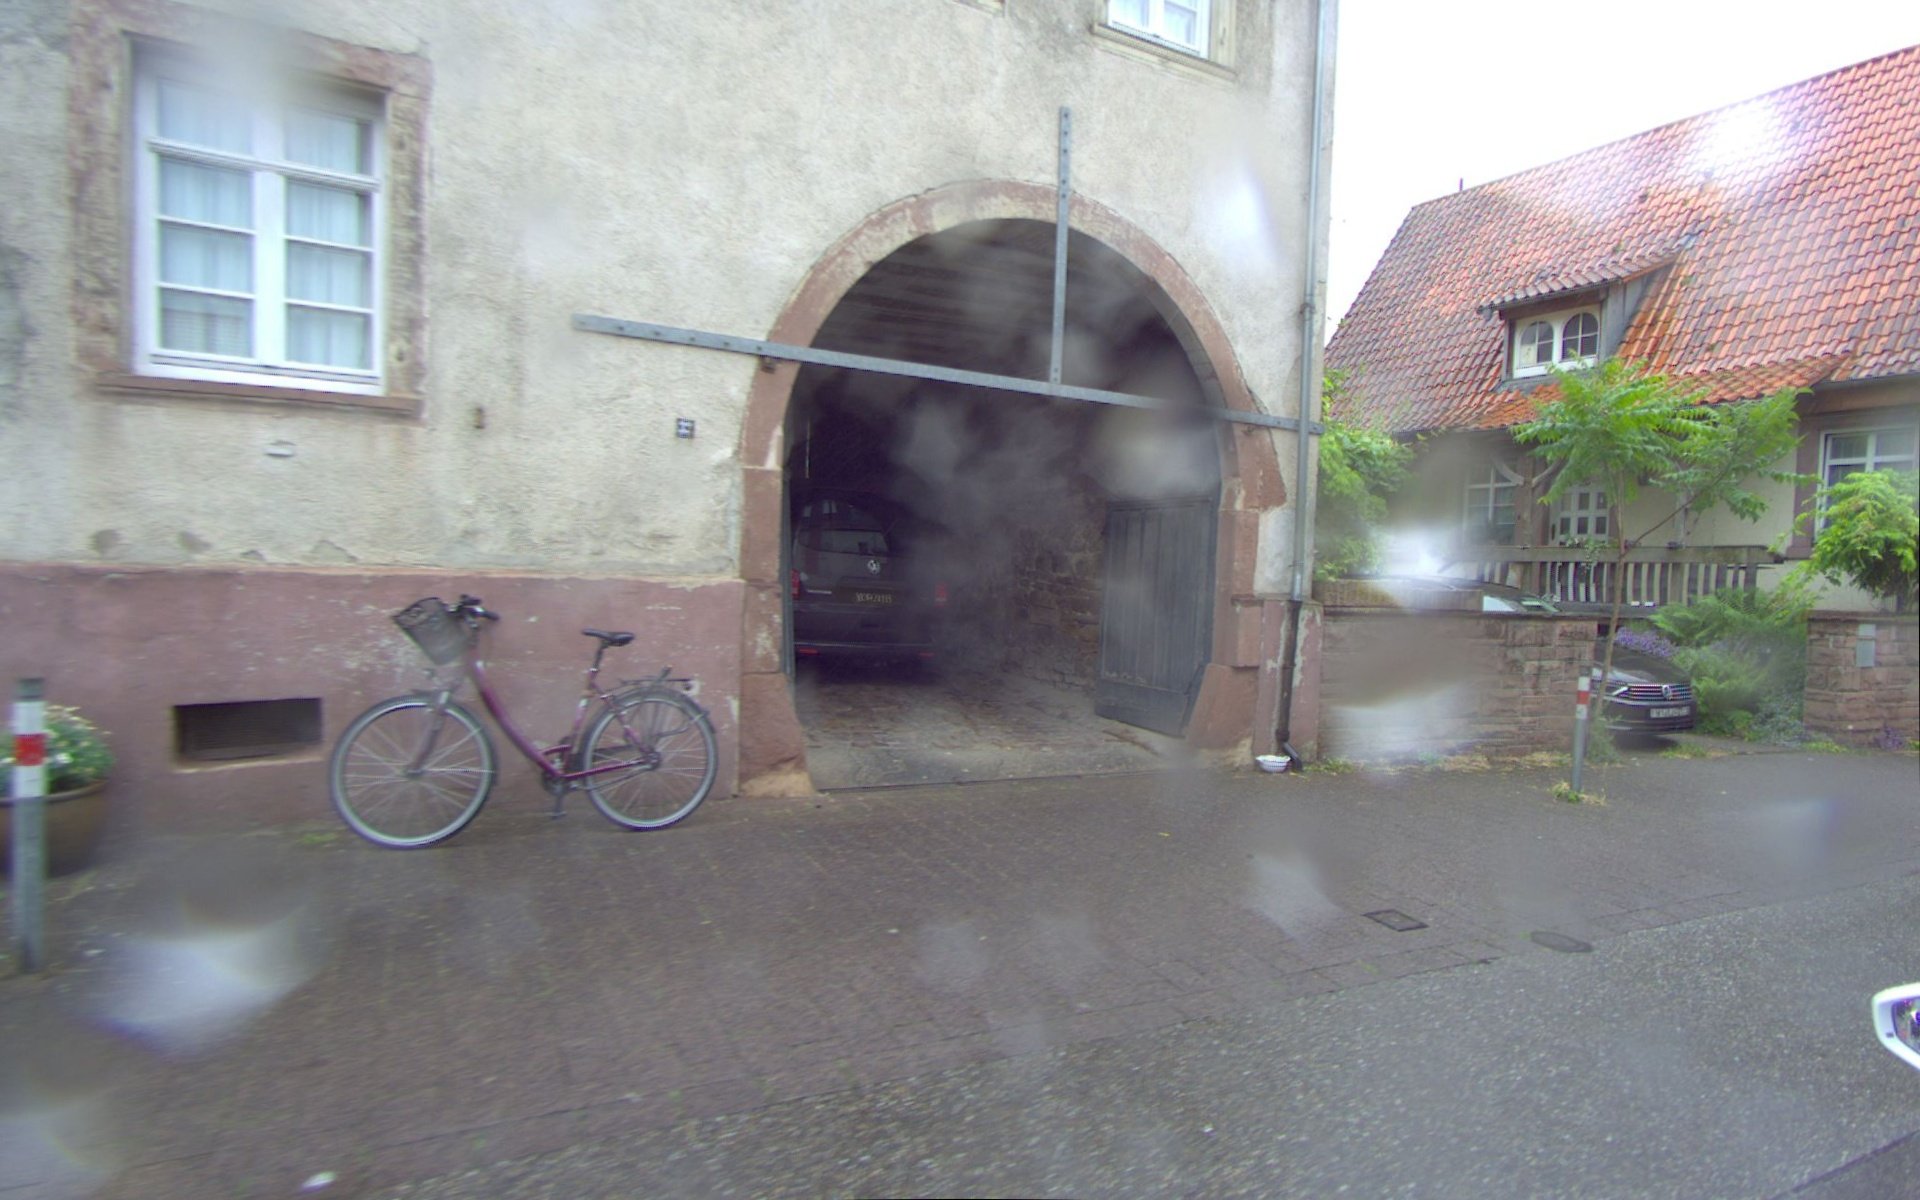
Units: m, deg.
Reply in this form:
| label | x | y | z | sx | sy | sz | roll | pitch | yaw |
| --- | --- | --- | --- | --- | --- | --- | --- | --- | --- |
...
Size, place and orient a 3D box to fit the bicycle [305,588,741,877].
| label | x | y | z | sx | sy | sz | roll | pitch | yaw |
| --- | --- | --- | --- | --- | --- | --- | --- | --- | --- |
| bicycle | -2.051 | 0.567 | 4.876 | 1.851 | 1.194 | 0.479 | 1 | 4 | -29 |

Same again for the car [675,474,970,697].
| label | x | y | z | sx | sy | sz | roll | pitch | yaw |
| --- | --- | --- | --- | --- | --- | --- | --- | --- | --- |
| car | -1.740 | -0.333 | 11.104 | 1.862 | 1.959 | 4.208 | 1 | 6 | -27 |

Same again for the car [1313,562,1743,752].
| label | x | y | z | sx | sy | sz | roll | pitch | yaw |
| --- | --- | --- | --- | --- | --- | --- | --- | --- | --- |
| car | 6.096 | 0.489 | 11.388 | 1.710 | 1.445 | 3.980 | 2 | 6 | -21 |
